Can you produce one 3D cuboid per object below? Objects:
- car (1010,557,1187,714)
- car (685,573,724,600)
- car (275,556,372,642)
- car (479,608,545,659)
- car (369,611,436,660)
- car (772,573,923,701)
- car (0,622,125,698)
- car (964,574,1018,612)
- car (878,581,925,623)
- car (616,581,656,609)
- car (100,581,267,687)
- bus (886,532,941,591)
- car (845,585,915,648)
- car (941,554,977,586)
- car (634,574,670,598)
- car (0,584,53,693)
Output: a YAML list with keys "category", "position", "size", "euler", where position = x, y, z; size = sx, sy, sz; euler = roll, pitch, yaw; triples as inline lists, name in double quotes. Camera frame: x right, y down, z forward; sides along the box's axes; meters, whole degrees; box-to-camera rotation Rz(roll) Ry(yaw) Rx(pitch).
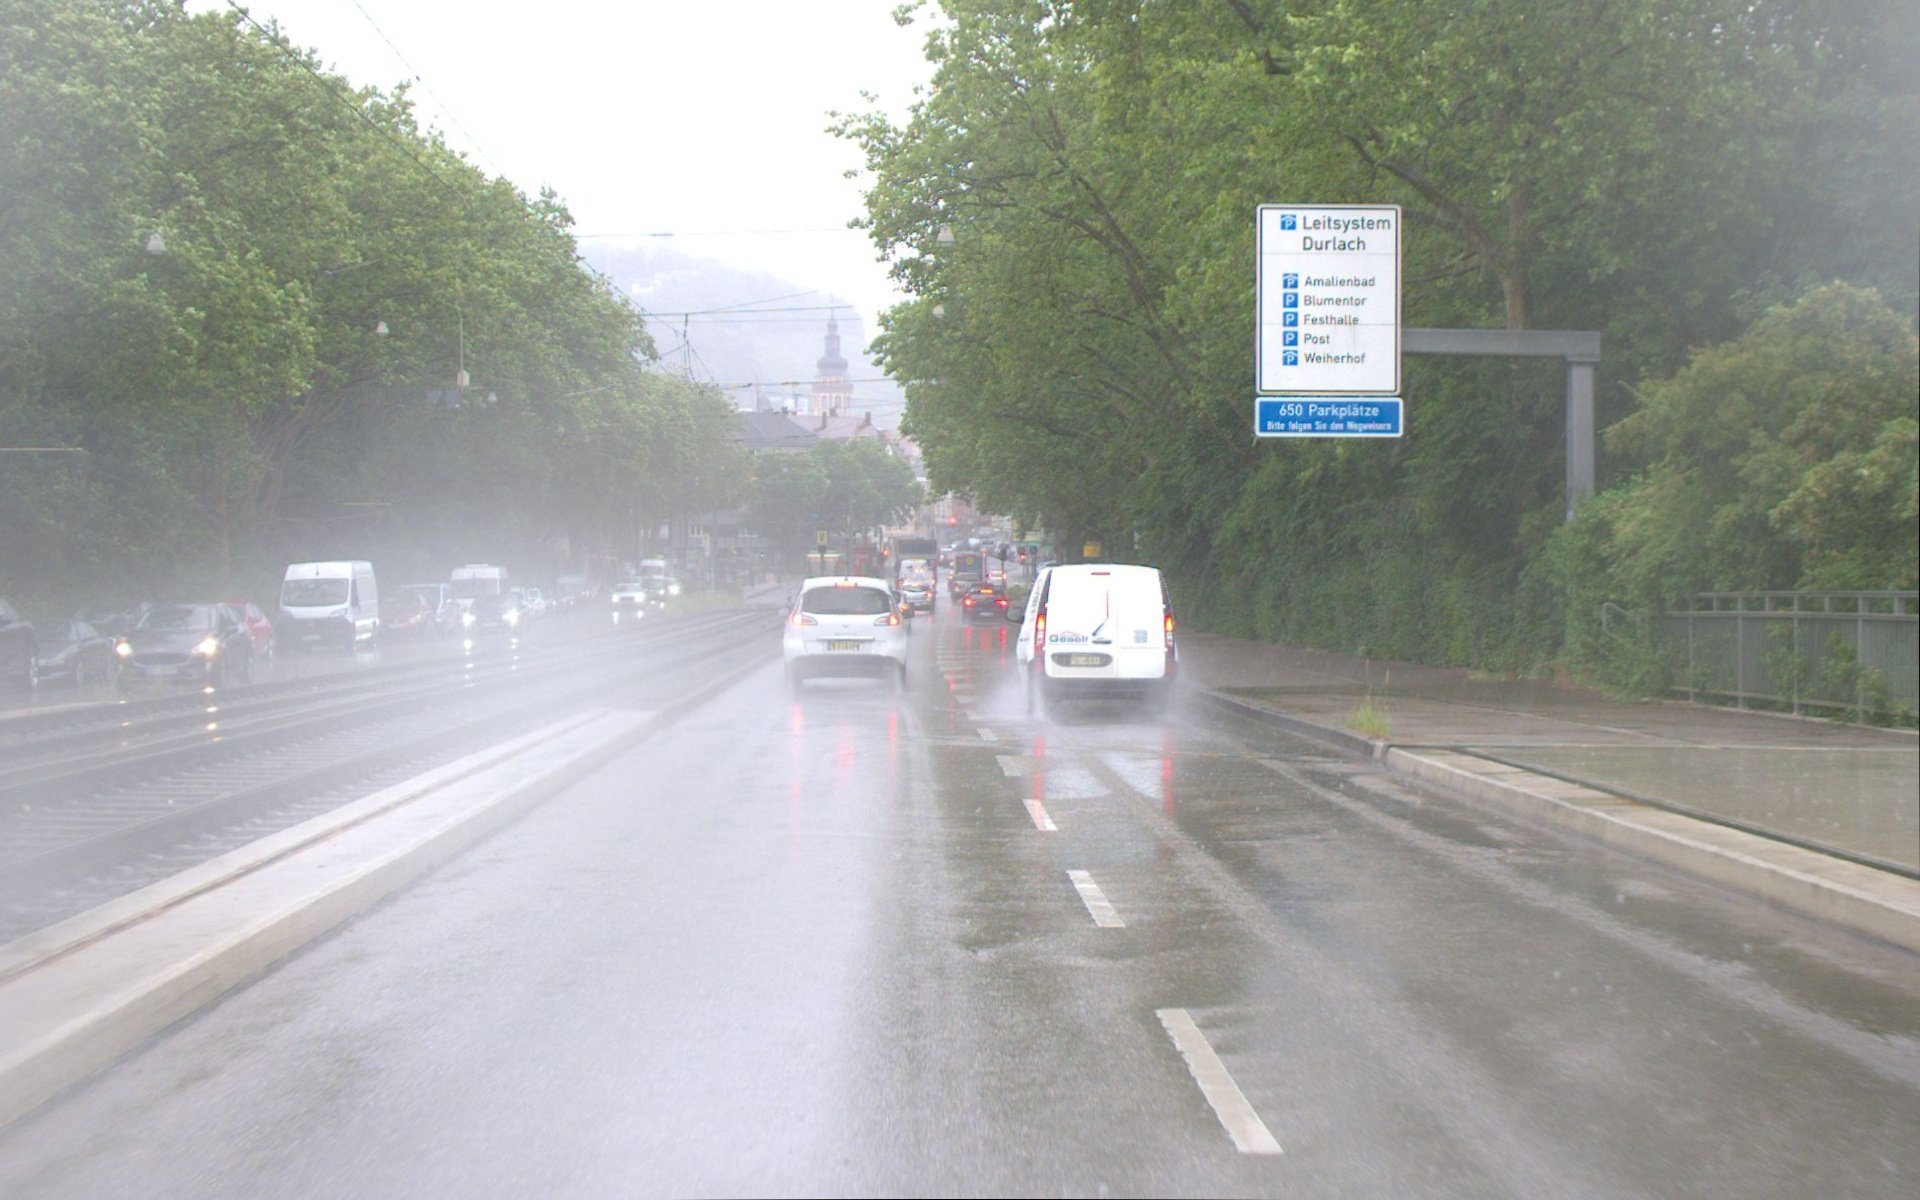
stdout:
- category: "car"
  position: [1.632, 0.386, 41.617]
  size: [1.993, 1.720, 4.000]
  euler: [1, 1, 1]
- category: "car"
  position: [-14.273, -0.782, 192.539]
  size: [1.805, 1.345, 4.264]
  euler: [-2, 1, 0]
- category: "car"
  position: [-17.377, -0.069, 94.117]
  size: [1.741, 2.162, 5.815]
  euler: [-2, 1, -2]
- category: "car"
  position: [-14.370, 1.060, 110.466]
  size: [1.506, 1.396, 4.708]
  euler: [-2, 1, 0]
- category: "car"
  position: [-17.802, 1.120, 109.887]
  size: [1.506, 1.345, 4.027]
  euler: [-2, 1, -1]
- category: "car"
  position: [-1.626, 0.514, 50.976]
  size: [1.993, 1.711, 4.000]
  euler: [1, 1, 1]
- category: "car"
  position: [-16.273, 1.071, 62.097]
  size: [1.506, 1.168, 3.713]
  euler: [-2, 1, -1]
- category: "car"
  position: [1.179, -0.268, 130.212]
  size: [1.993, 1.316, 4.000]
  euler: [1, 1, 1]
- category: "car"
  position: [-2.702, 0.086, 160.122]
  size: [1.993, 1.820, 4.000]
  euler: [1, 1, 1]
- category: "car"
  position: [-17.355, -0.253, 184.304]
  size: [1.805, 1.345, 4.264]
  euler: [-2, 1, -1]
- category: "car"
  position: [-12.764, 0.531, 56.705]
  size: [1.816, 1.363, 4.266]
  euler: [1, 4, -1]
- category: "bus"
  position: [-3.142, -2.662, 234.853]
  size: [3.389, 3.823, 9.739]
  euler: [1, 1, 1]
- category: "car"
  position: [-2.506, 0.509, 108.645]
  size: [1.993, 1.820, 4.000]
  euler: [1, 1, 1]
- category: "car"
  position: [-0.028, -1.772, 201.663]
  size: [1.993, 1.820, 4.000]
  euler: [1, 1, 1]
- category: "car"
  position: [-18.771, -0.858, 209.577]
  size: [1.805, 1.345, 4.264]
  euler: [-2, 1, -1]
- category: "car"
  position: [-16.047, 0.646, 55.761]
  size: [1.505, 1.666, 4.834]
  euler: [-2, 1, -2]
